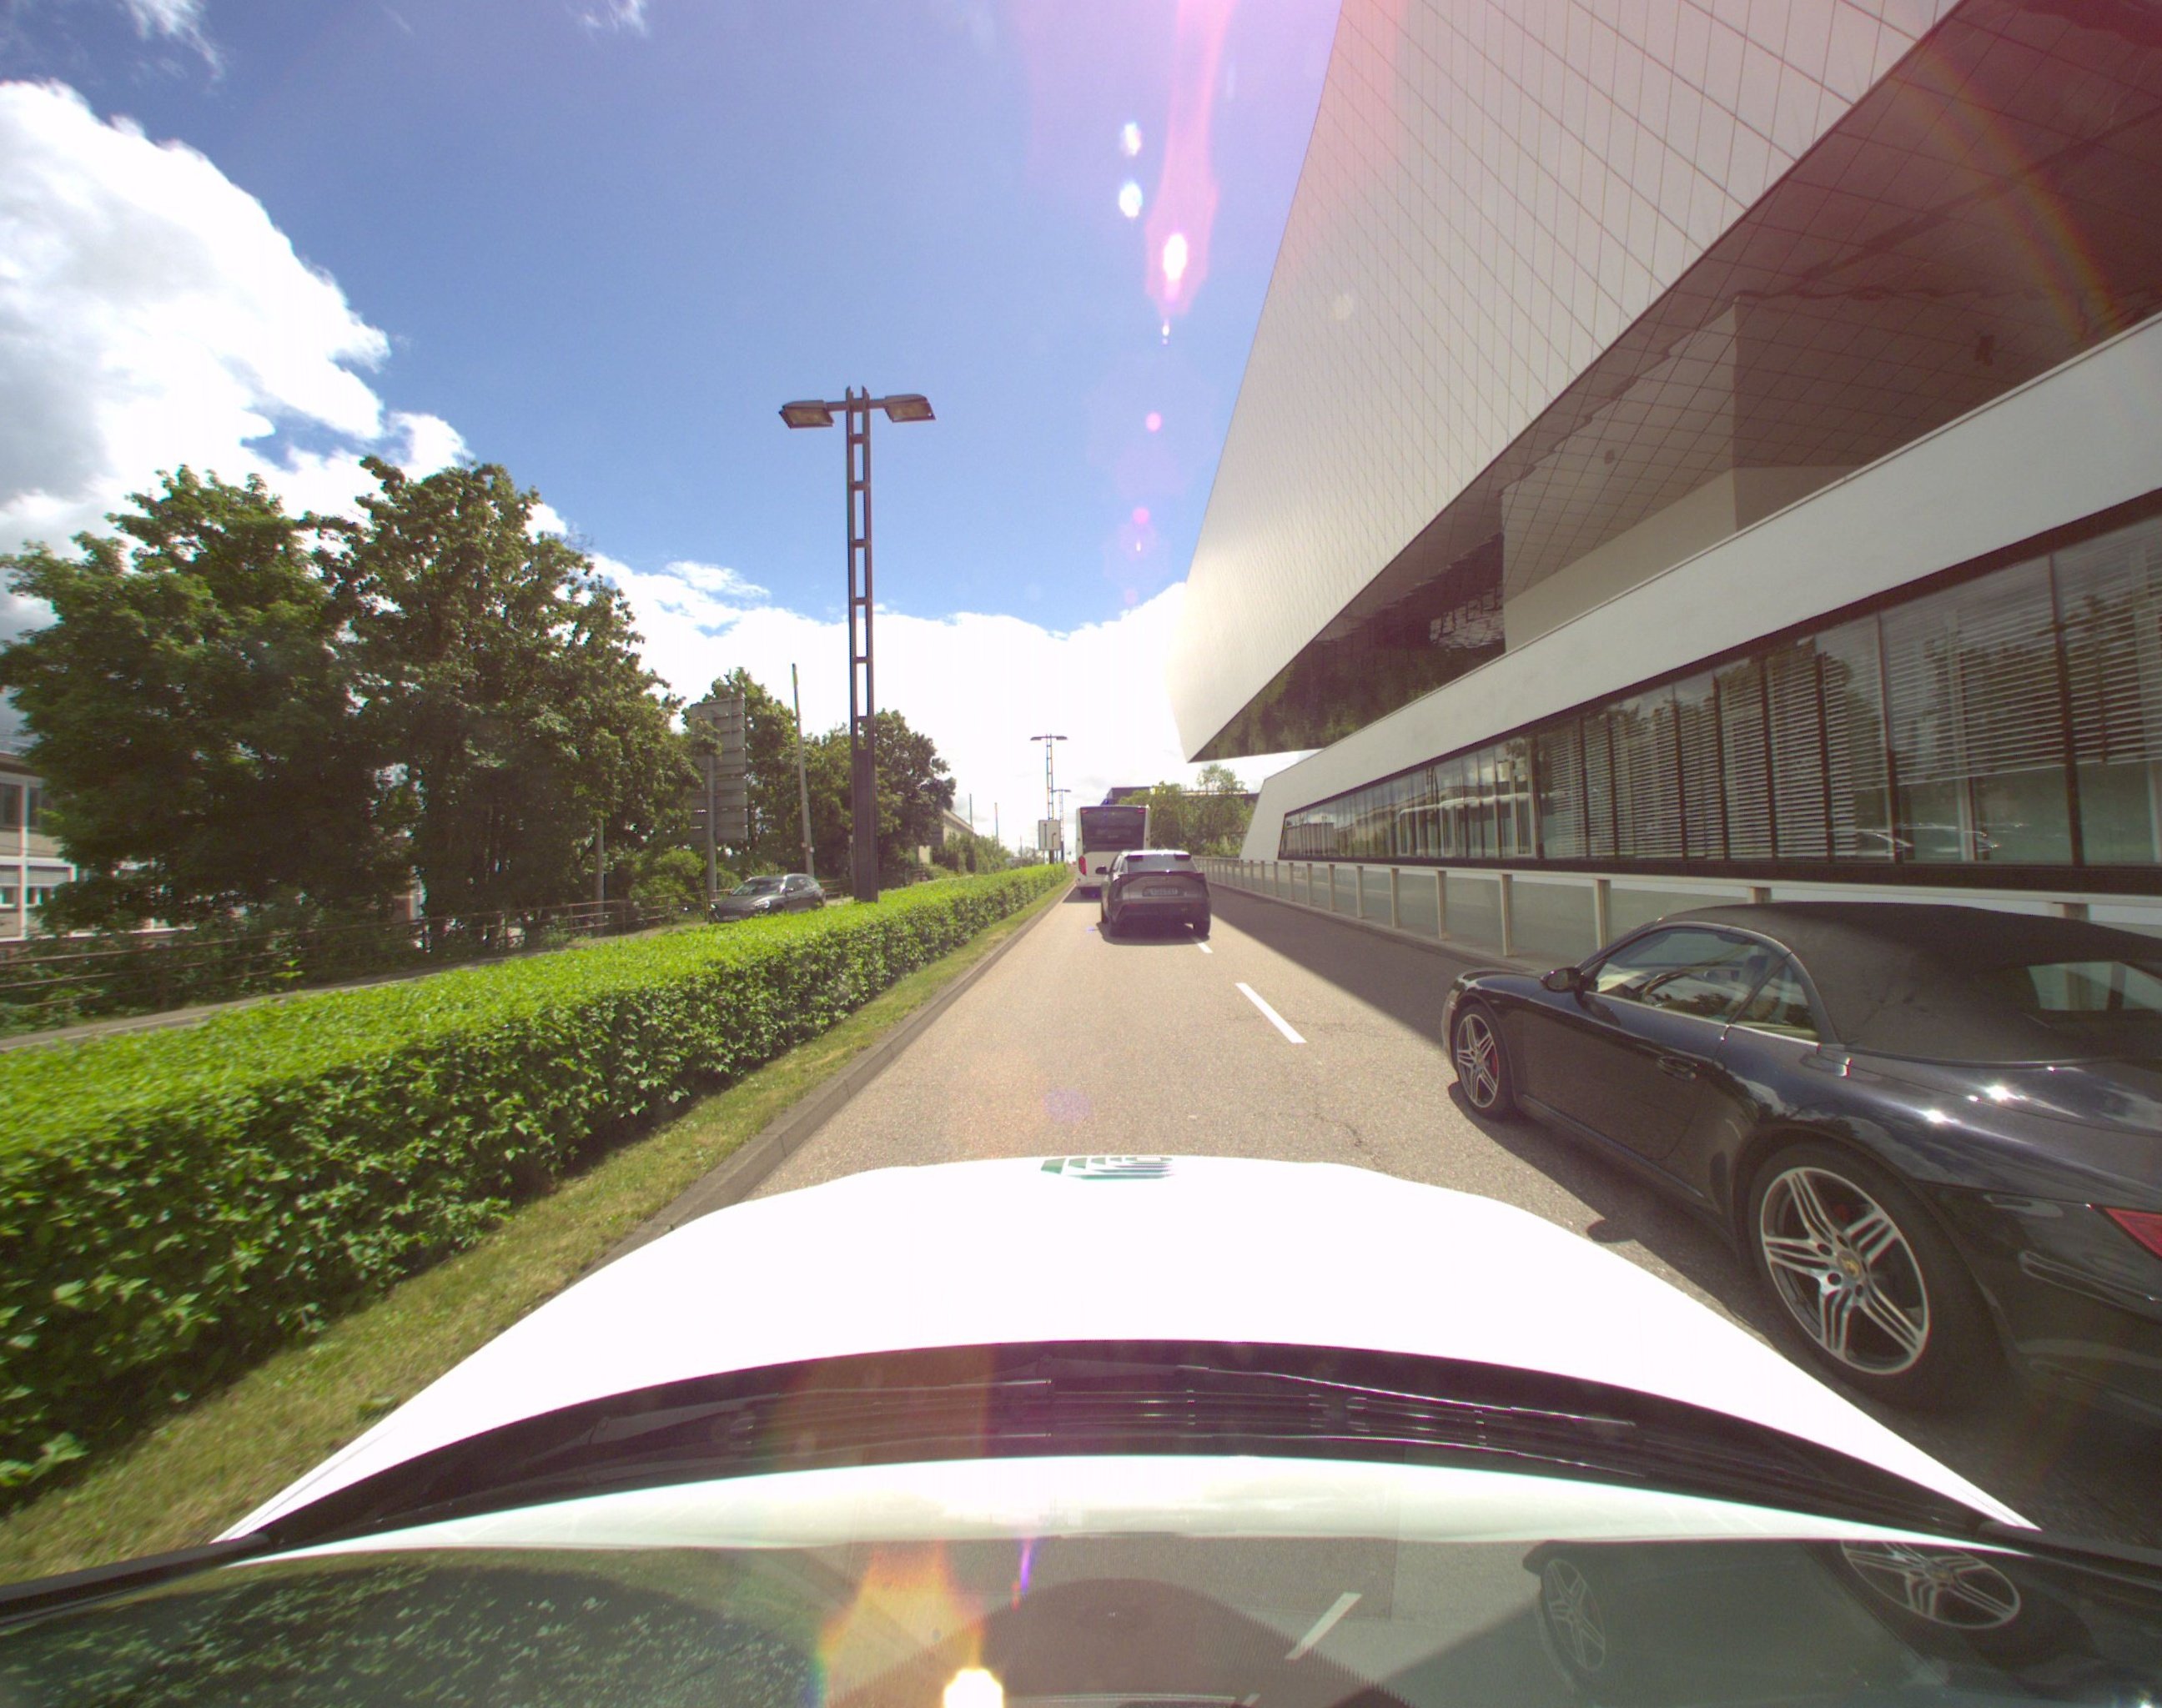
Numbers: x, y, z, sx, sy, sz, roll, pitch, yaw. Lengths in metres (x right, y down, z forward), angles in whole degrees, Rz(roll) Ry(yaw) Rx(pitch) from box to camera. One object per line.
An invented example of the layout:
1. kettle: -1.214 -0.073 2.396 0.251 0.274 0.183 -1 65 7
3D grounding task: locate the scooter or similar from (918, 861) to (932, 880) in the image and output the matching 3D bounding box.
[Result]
1. scooter or similar: -10.359 1.092 54.167 0.489 1.216 1.644 -3 0 3

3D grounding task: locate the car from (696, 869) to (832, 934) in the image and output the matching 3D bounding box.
1. car: -8.889 1.276 23.318 1.832 1.507 4.565 -3 0 3

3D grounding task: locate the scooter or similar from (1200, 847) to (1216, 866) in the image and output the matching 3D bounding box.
1. scooter or similar: 8.415 0.159 53.975 0.651 1.214 1.856 -3 -1 -2

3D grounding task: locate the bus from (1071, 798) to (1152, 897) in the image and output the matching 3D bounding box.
1. bus: 1.259 -0.286 33.161 2.678 3.255 12.064 -1 1 2

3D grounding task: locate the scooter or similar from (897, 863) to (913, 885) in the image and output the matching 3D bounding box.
1. scooter or similar: -10.512 1.193 48.653 0.489 1.304 1.644 -1 0 3

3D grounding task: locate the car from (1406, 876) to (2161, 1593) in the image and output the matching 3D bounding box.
1. car: 3.004 0.794 3.440 1.713 1.275 4.089 -1 0 2

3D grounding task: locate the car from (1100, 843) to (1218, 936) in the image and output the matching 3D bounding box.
1. car: 1.404 0.639 16.268 1.874 1.594 4.227 -1 -1 -1
